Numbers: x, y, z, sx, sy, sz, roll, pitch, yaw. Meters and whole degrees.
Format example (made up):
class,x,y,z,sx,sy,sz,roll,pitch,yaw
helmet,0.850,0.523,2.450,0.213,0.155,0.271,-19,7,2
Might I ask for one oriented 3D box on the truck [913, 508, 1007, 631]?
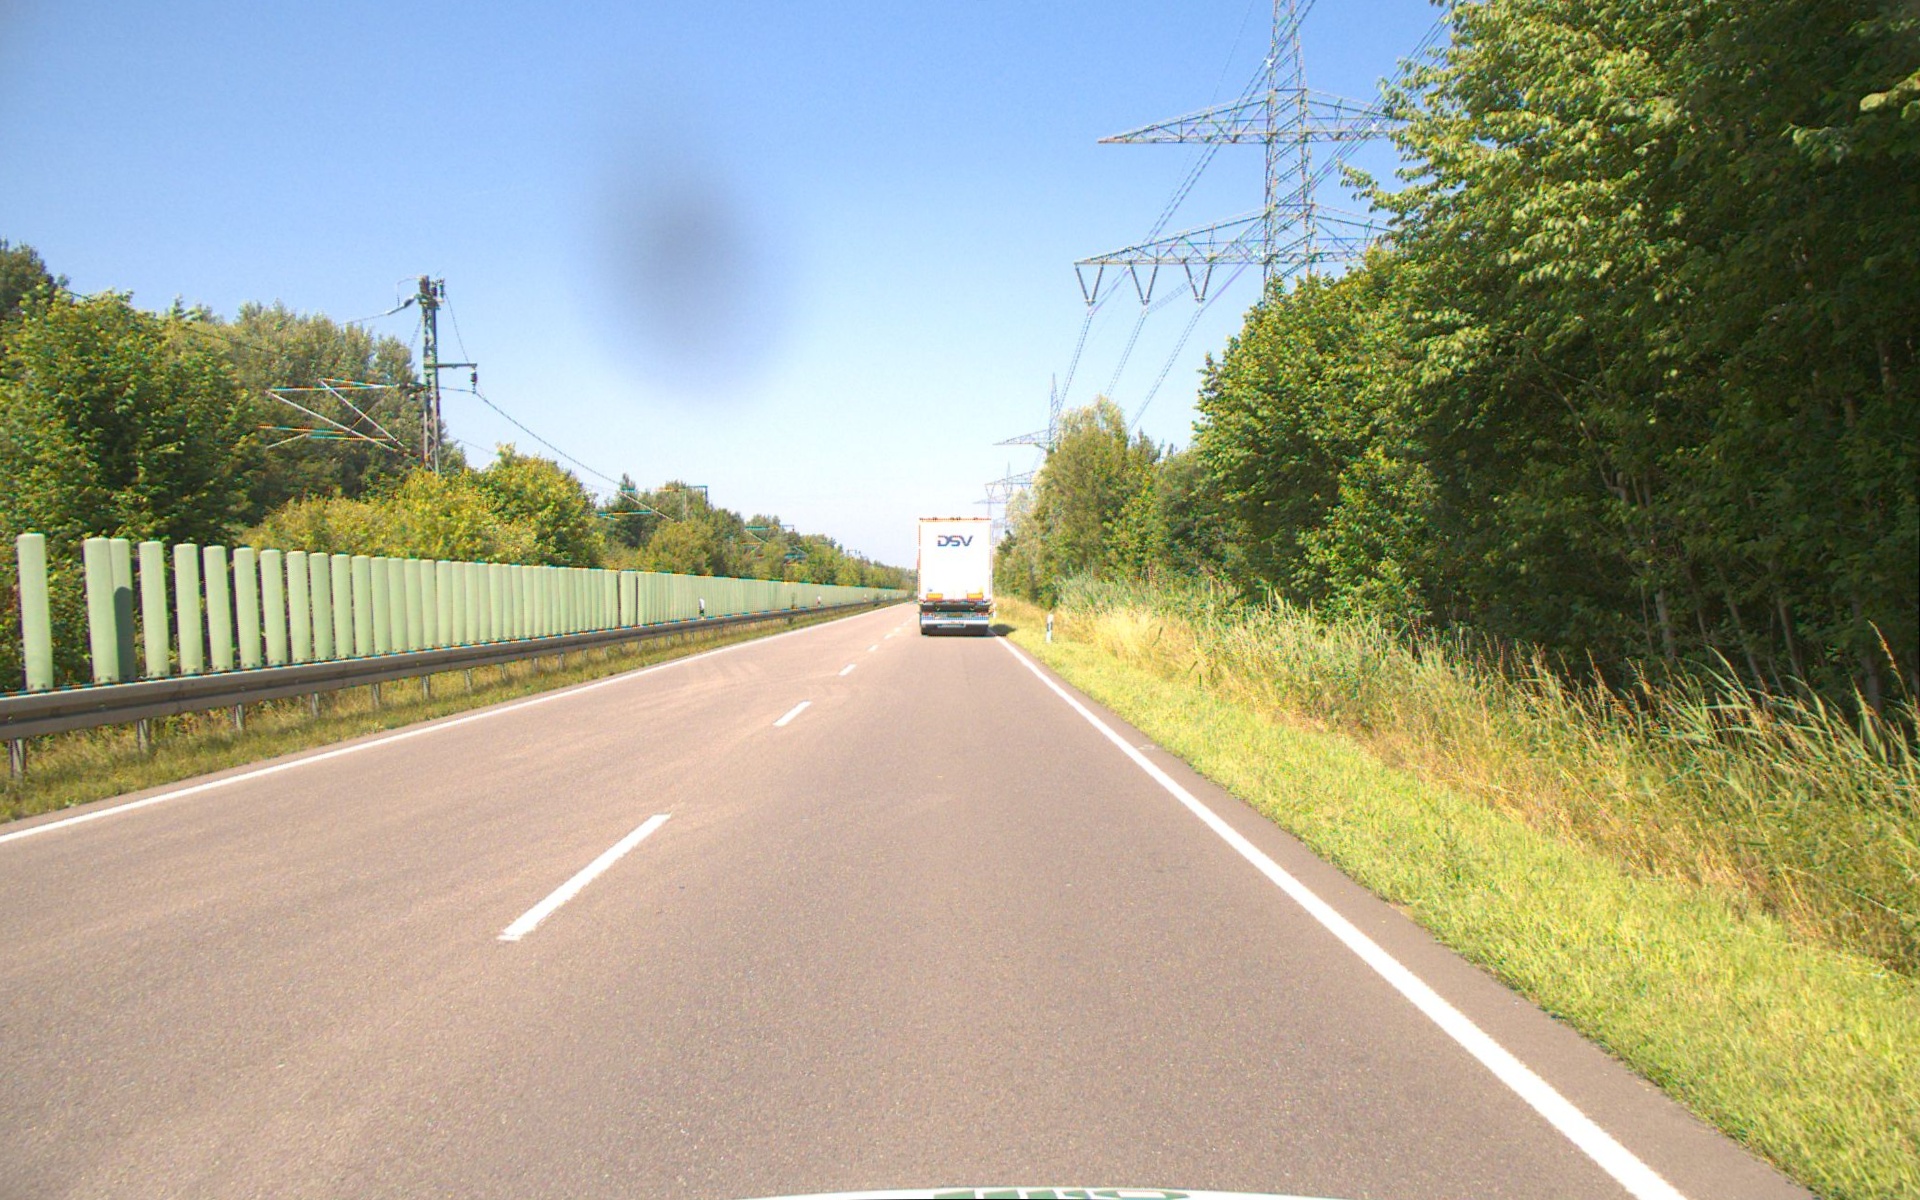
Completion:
class,x,y,z,sx,sy,sz,roll,pitch,yaw
truck,-0.116,-1.054,61.706,3.127,4.113,12.004,0,0,-1
